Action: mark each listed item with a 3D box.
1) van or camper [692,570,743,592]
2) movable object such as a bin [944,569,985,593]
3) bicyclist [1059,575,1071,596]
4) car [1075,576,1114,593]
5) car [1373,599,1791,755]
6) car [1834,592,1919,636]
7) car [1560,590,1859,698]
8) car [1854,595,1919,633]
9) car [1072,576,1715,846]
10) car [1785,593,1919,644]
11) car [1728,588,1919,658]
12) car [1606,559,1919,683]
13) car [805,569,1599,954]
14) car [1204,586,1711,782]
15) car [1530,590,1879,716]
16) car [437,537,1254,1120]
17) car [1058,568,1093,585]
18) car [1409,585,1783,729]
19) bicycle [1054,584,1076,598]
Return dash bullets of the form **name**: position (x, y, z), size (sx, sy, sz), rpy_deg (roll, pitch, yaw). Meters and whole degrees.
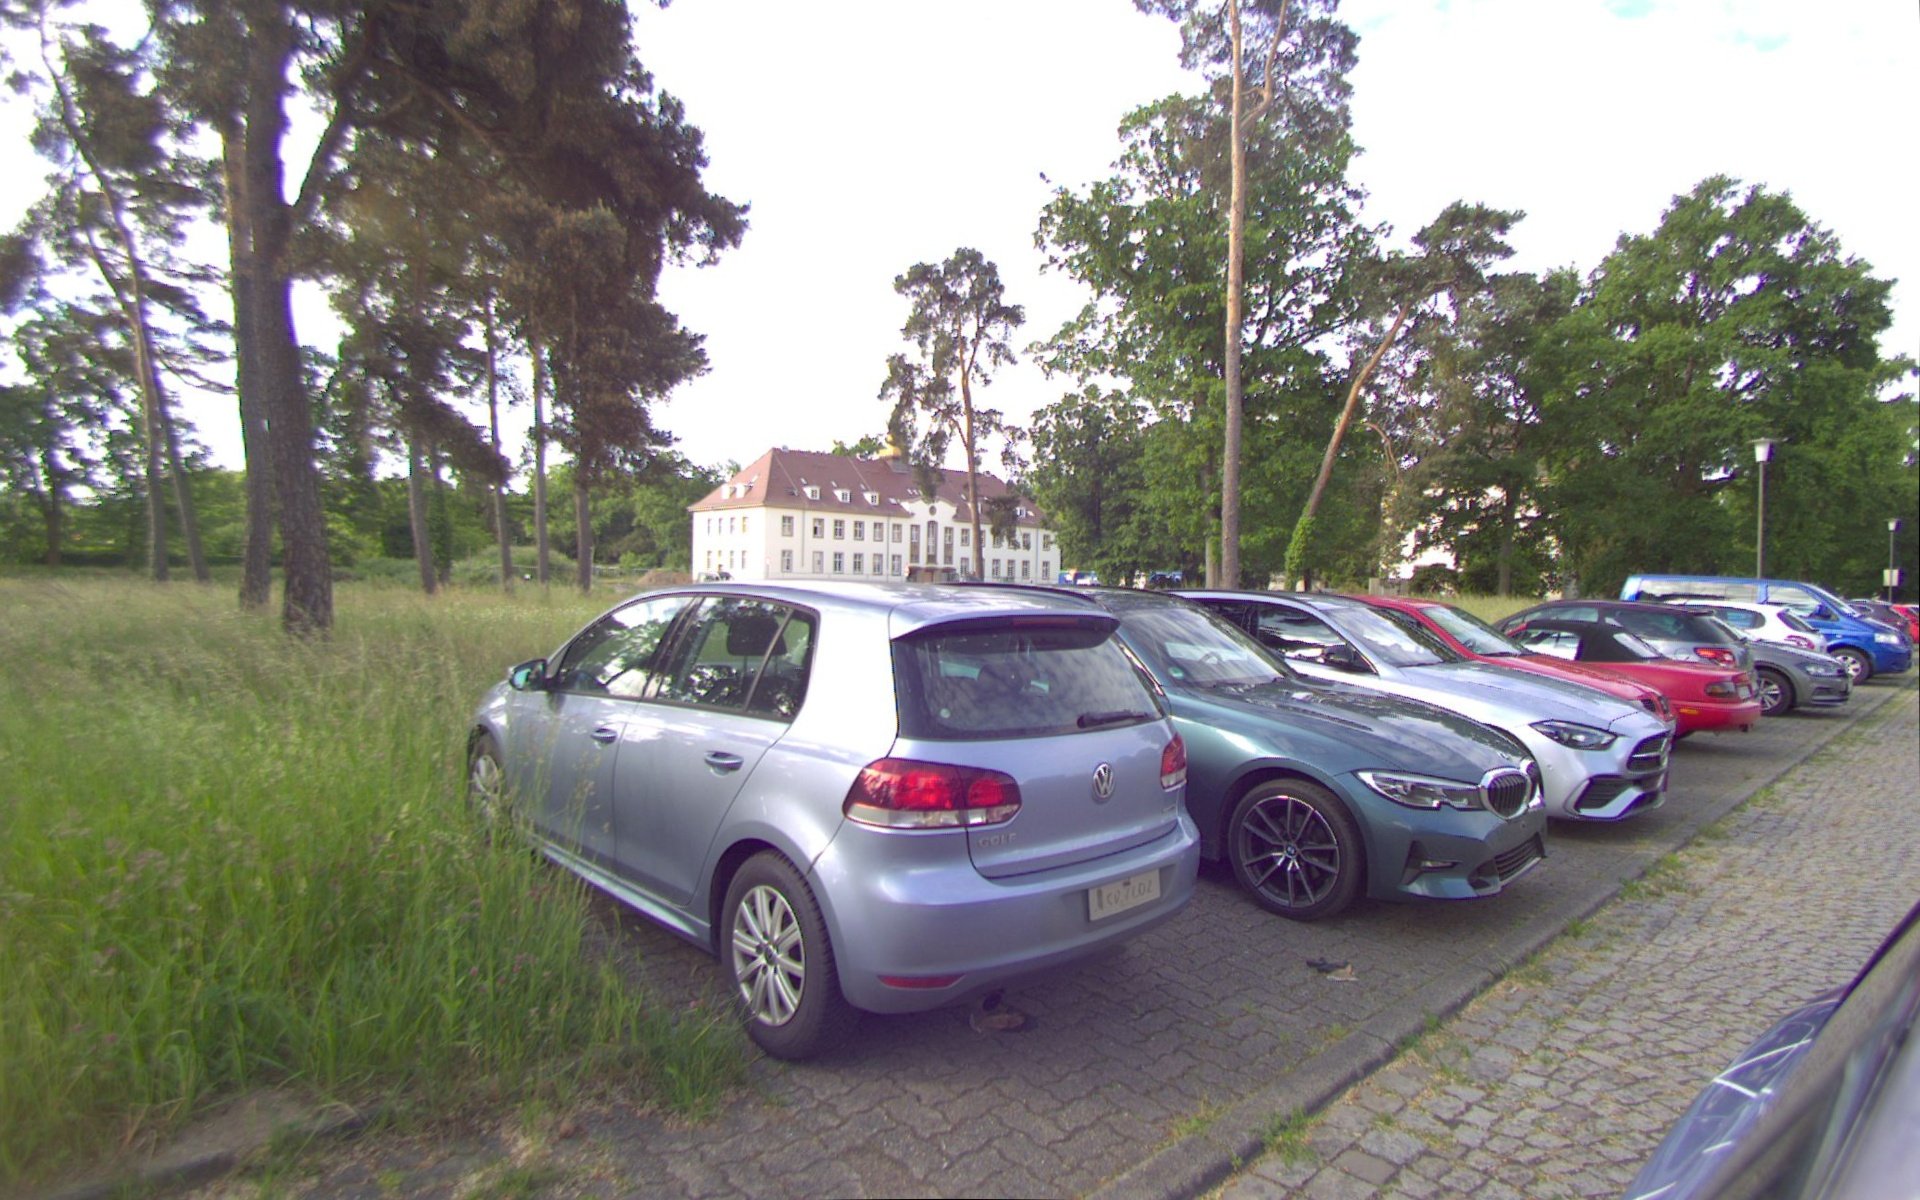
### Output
- **van or camper**: position (-25.260, -1.976, 105.221), size (6.058, 2.251, 1.970), rpy_deg (2, 1, 41)
- **movable object such as a bin**: position (0.565, -2.271, 123.387), size (1.993, 2.802, 5.125), rpy_deg (2, 1, 42)
- **bicyclist**: position (9.133, -1.249, 87.861), size (0.829, 1.756, 0.667), rpy_deg (0, -1, -39)
- **car**: position (14.050, -1.616, 105.676), size (3.866, 1.704, 1.847), rpy_deg (0, 3, -40)
- **car**: position (6.590, 0.709, 10.998), size (1.580, 1.303, 3.553), rpy_deg (2, 0, -41)
- **car**: position (37.473, 0.544, 40.278), size (1.552, 1.638, 3.839), rpy_deg (0, 1, -38)
- **car**: position (12.389, 0.630, 16.911), size (1.553, 1.517, 3.760), rpy_deg (0, 1, -40)
- **car**: position (41.008, 0.613, 43.340), size (1.643, 1.548, 3.839), rpy_deg (0, 1, -38)
- **car**: position (3.113, 0.601, 7.999), size (1.737, 1.446, 4.331), rpy_deg (0, 2, -43)
- **car**: position (29.834, 0.580, 33.472), size (3.829, 1.544, 1.556), rpy_deg (2, 1, 44)
- **car**: position (22.506, 0.547, 26.344), size (3.829, 1.621, 1.556), rpy_deg (2, 1, 44)
- **car**: position (16.302, 0.306, 20.541), size (2.025, 2.047, 4.952), rpy_deg (0, 3, -41)
- **car**: position (1.113, 0.589, 6.252), size (1.778, 1.501, 4.516), rpy_deg (0, 2, -45)
- **car**: position (4.617, 0.626, 9.896), size (1.690, 1.441, 4.114), rpy_deg (0, 1, -42)
- **car**: position (10.579, 0.648, 14.588), size (1.614, 1.484, 3.779), rpy_deg (0, 1, -40)
- **car**: position (-0.837, 0.532, 4.532), size (1.615, 1.489, 3.845), rpy_deg (0, 1, -44)
- **car**: position (14.210, -2.923, 124.395), size (3.926, 2.039, 2.219), rpy_deg (0, 1, -38)
- **car**: position (8.099, 0.606, 13.151), size (1.577, 1.522, 3.833), rpy_deg (0, 1, -42)
- **bicycle**: position (9.116, -0.775, 87.852), size (1.945, 1.223, 0.638), rpy_deg (0, 1, -40)
